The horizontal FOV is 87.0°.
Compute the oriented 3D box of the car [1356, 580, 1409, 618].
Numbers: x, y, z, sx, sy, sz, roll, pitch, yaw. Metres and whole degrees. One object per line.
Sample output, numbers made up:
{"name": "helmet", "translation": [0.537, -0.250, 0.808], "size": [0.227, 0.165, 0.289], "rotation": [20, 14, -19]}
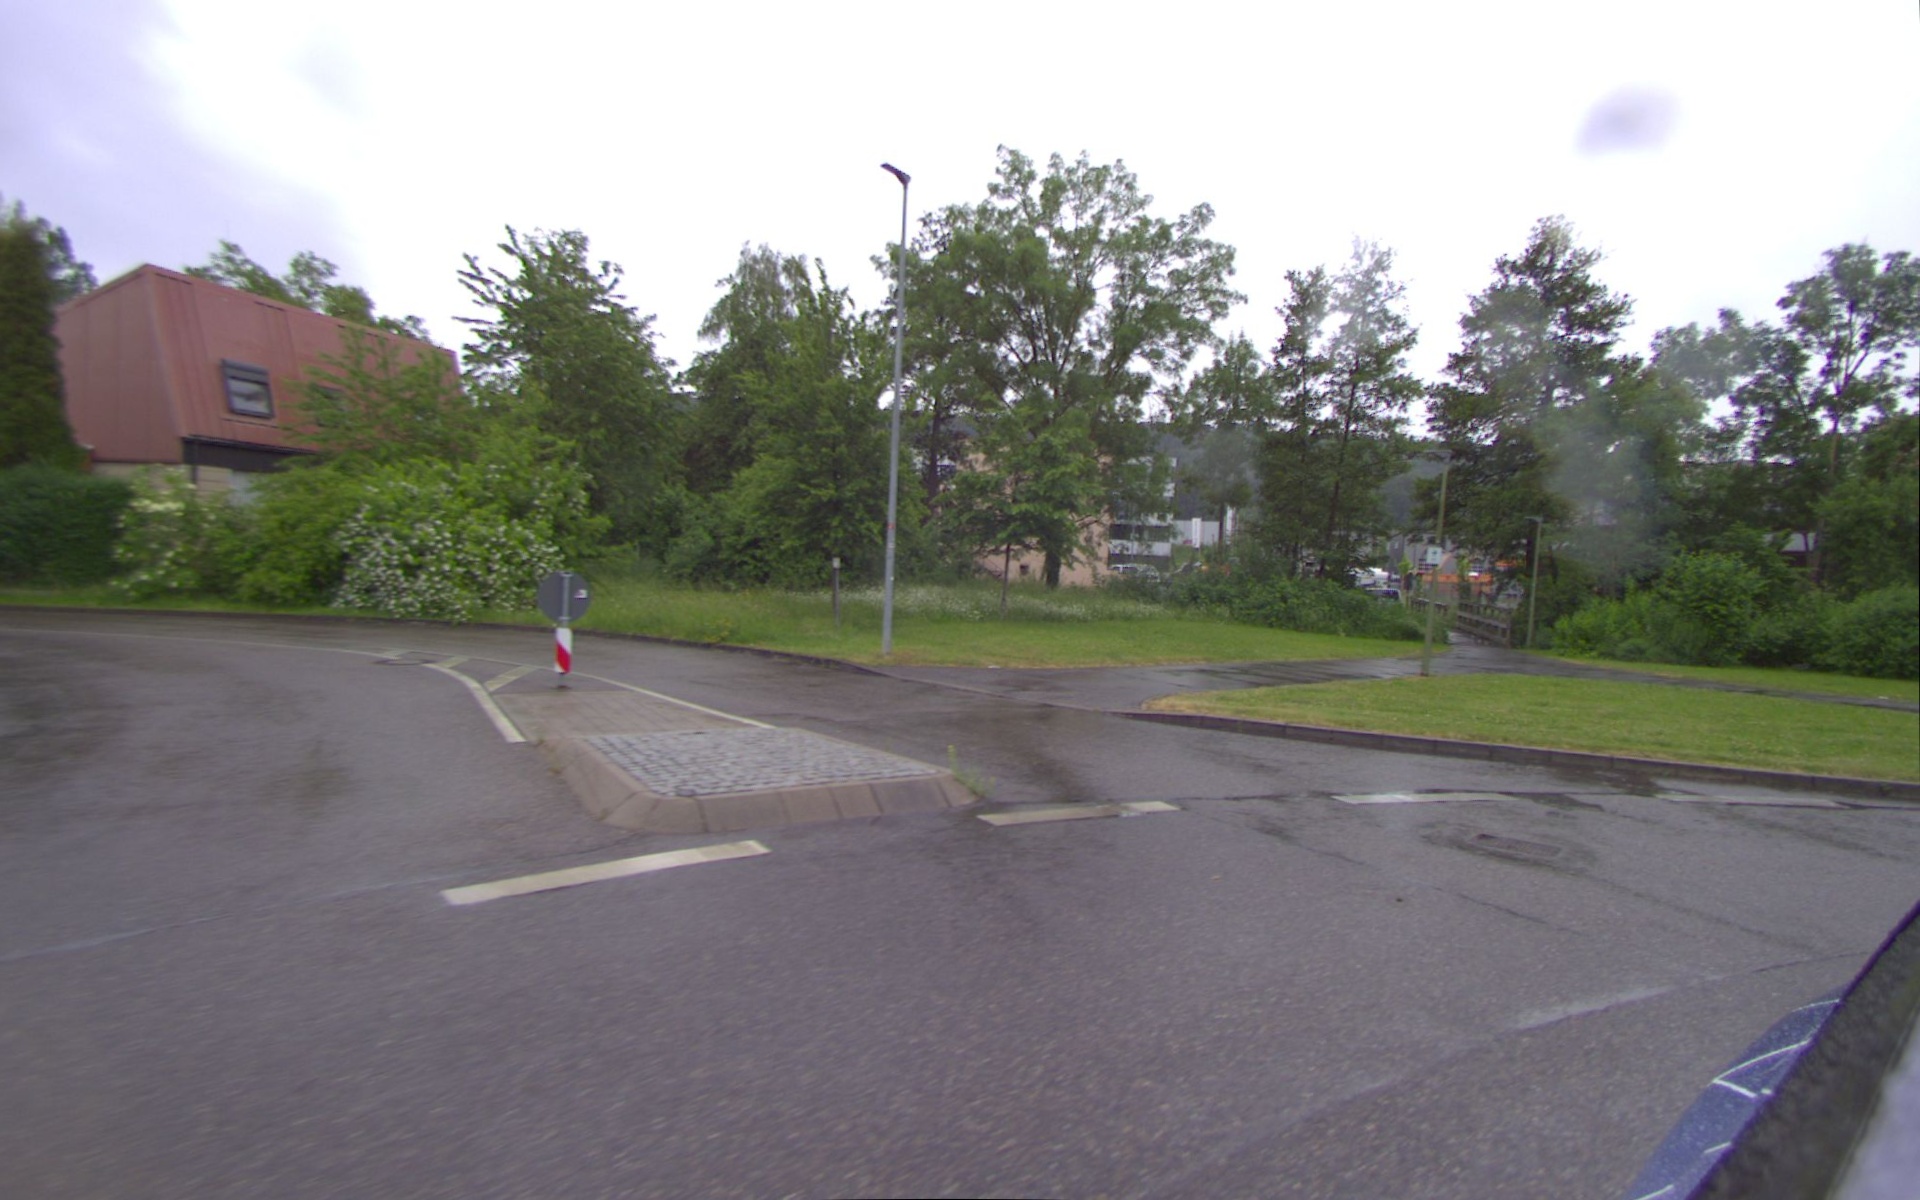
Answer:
{"name": "car", "translation": [21.802, -0.088, 52.317], "size": [1.972, 1.735, 3.980], "rotation": [3, 2, 16]}

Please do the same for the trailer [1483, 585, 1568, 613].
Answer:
{"name": "trailer", "translation": [52.141, -0.147, 93.321], "size": [6.593, 2.038, 2.547], "rotation": [5, 4, 34]}

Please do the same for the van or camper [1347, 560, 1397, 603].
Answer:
{"name": "van or camper", "translation": [24.966, -1.158, 61.457], "size": [2.515, 2.271, 5.935], "rotation": [6, 4, 21]}
